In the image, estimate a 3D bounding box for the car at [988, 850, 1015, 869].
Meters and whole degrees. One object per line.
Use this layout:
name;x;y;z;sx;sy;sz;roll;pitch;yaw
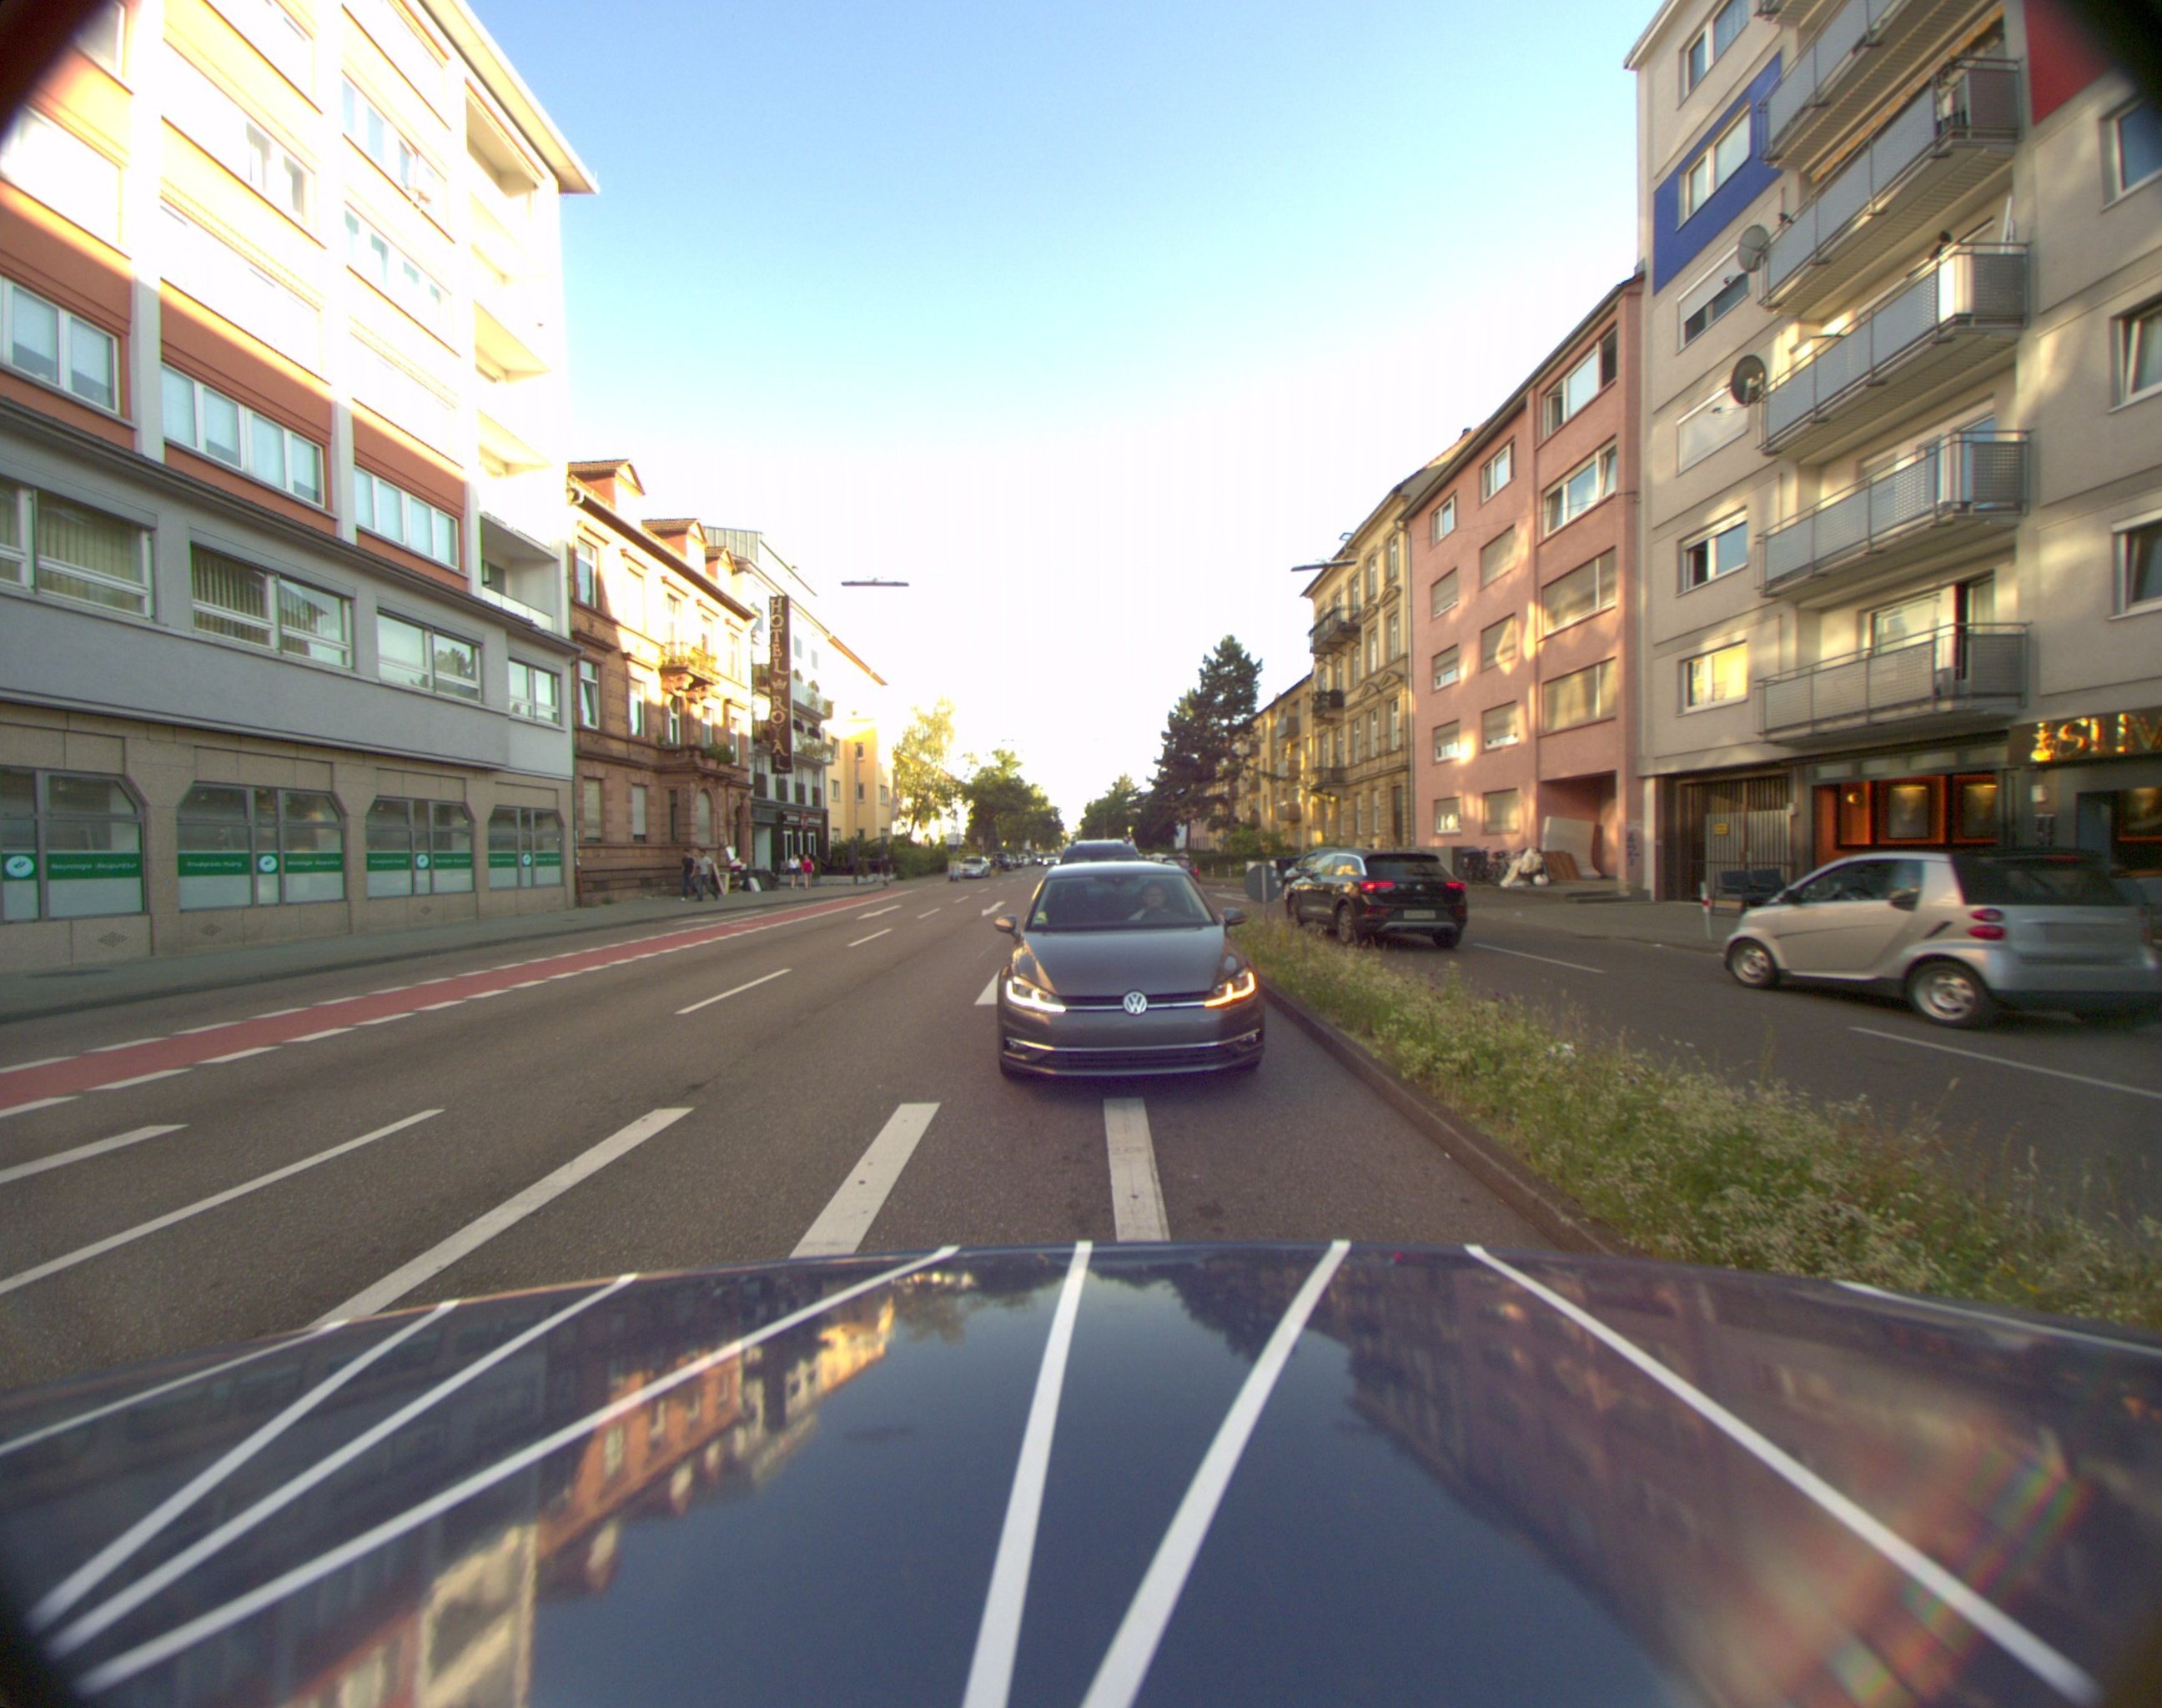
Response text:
car;-7.163;0.462;69.010;1.947;1.615;4.193;-1;0;0

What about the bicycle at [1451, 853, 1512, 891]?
bicycle;13.159;0.583;24.987;1.780;1.184;0.473;-1;1;-2

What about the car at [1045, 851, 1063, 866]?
car;-3.117;0.508;88.868;1.907;1.532;3.999;-1;1;0

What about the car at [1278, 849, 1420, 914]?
car;7.230;0.673;20.984;1.726;1.619;4.097;0;0;-14

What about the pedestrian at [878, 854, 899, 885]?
pedestrian;-10.149;0.802;40.046;0.738;1.593;1.011;2;1;4

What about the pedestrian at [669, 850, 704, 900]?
pedestrian;-13.952;0.736;26.914;0.668;1.716;1.011;-1;1;0

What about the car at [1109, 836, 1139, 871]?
car;3.410;-0.076;61.455;2.136;2.740;4.465;0;1;0

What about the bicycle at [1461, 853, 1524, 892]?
bicycle;13.137;0.585;24.254;1.780;1.184;0.473;-1;1;-2

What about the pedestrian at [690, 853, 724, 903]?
pedestrian;-13.219;0.846;26.867;0.668;1.716;1.011;-1;1;0

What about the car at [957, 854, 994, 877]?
car;-7.338;0.759;53.217;1.905;1.508;4.074;-1;0;1

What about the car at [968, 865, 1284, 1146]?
car;0.288;0.910;6.513;1.770;1.450;4.269;-2;1;1

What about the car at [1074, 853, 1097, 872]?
car;0.309;0.675;62.085;1.596;1.533;3.402;0;1;-4

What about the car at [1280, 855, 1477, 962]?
car;4.841;0.788;13.040;1.680;1.535;4.101;0;0;-2

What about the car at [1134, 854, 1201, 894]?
car;3.257;0.715;29.453;1.597;1.462;3.982;0;0;-9

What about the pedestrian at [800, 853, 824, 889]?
pedestrian;-12.253;0.751;34.628;0.739;1.579;1.010;3;1;-7

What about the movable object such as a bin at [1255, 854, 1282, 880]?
movable object such as a bin;9.457;0.643;38.282;0.847;1.225;1.196;0;1;42

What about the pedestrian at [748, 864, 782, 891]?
pedestrian;-13.729;1.000;33.025;1.100;1.129;0.924;-1;1;-2

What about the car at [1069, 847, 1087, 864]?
car;-0.337;0.140;81.414;1.895;1.843;4.700;0;1;0

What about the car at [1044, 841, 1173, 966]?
car;0.403;0.712;13.425;1.895;1.843;4.466;0;1;0

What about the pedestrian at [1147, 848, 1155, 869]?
pedestrian;5.316;0.309;57.539;0.577;1.591;0.481;-1;1;1

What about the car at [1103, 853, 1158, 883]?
car;2.528;0.671;39.765;1.759;1.479;4.243;0;0;-13

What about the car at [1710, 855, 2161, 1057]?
car;8.070;0.815;7.420;1.539;1.583;2.808;0;0;1

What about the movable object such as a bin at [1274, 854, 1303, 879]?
movable object such as a bin;10.321;0.615;37.786;1.196;1.225;0.847;-2;1;-40

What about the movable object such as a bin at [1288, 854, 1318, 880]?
movable object such as a bin;10.849;0.602;37.081;1.196;1.225;0.847;-2;1;-40

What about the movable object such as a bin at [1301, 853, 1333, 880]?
movable object such as a bin;11.240;0.596;36.187;1.295;1.225;0.926;-2;1;-40

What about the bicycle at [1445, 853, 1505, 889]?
bicycle;13.239;0.573;25.567;1.780;1.184;0.473;-1;1;-2

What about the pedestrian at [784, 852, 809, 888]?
pedestrian;-12.943;0.715;34.544;0.787;1.579;1.010;3;1;-7
